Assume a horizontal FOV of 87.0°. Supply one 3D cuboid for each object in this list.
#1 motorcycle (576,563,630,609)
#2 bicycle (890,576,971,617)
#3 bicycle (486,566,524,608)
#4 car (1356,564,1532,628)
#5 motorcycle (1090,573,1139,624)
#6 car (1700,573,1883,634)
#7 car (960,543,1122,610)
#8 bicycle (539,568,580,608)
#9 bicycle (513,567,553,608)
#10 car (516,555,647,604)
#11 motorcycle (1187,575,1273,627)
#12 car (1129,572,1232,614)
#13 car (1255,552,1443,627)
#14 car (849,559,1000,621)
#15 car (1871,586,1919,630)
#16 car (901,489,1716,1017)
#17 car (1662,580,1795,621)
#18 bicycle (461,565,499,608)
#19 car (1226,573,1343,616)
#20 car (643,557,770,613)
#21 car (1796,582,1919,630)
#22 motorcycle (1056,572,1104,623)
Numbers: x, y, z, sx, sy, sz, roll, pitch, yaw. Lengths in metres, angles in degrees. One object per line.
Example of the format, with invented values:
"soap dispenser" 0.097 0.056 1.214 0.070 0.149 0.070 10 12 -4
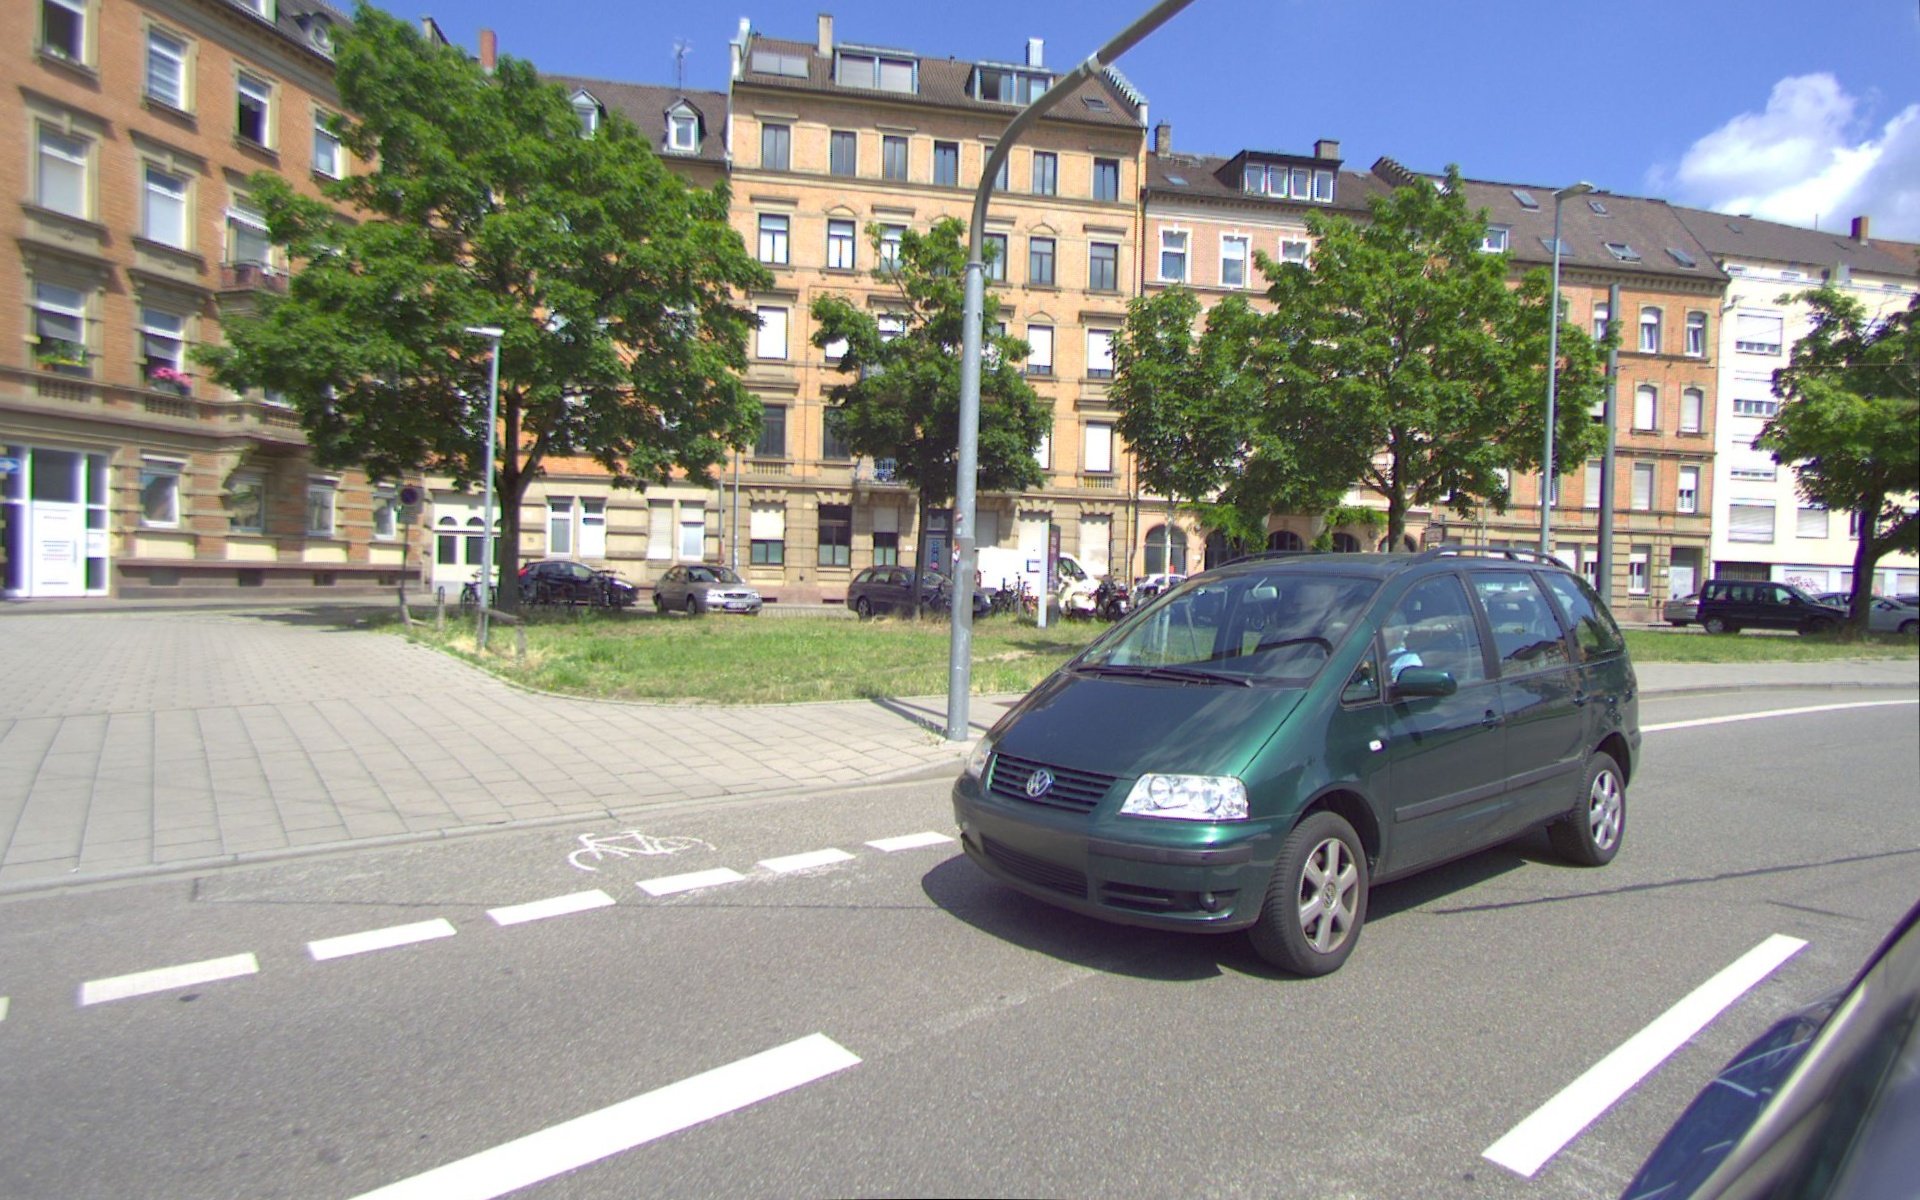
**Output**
"motorcycle" -9.156 -0.355 25.897 0.797 1.139 2.393 1 0 -32
"bicycle" -0.681 -0.071 23.306 1.783 0.913 0.545 1 0 -12
"bicycle" -11.167 -0.318 24.806 0.533 0.981 2.393 1 0 -32
"car" 13.798 -0.122 29.048 1.880 1.677 4.175 1 0 -35
"motorcycle" 3.753 -0.056 24.727 0.626 1.181 1.792 1 1 -10
"car" 25.858 0.070 31.587 1.819 1.763 4.146 1 0 -39
"car" 2.794 -0.806 35.646 5.283 2.206 2.121 1 0 -8
"bicycle" -10.099 -0.300 25.470 0.533 0.968 2.393 1 0 -32
"bicycle" -10.621 -0.312 25.146 0.533 0.981 2.393 1 0 -32
"car" -12.362 -0.659 33.246 3.774 1.510 1.667 1 0 -8
"motorcycle" 6.493 0.011 24.410 1.872 1.181 0.639 1 1 4
"car" 7.986 -0.266 36.738 3.283 1.420 1.571 1 1 -6
"car" 10.867 -0.300 28.554 1.882 1.952 4.625 1 0 -39
"car" -1.017 -0.299 26.332 1.772 1.445 4.257 1 2 -38
"car" 32.051 0.268 32.002 1.821 1.398 4.684 1 0 -42
"car" 2.236 0.510 5.629 4.937 1.778 1.824 0 0 -37
"car" 30.576 0.022 40.328 4.140 1.510 1.841 1 0 -8
"bicycle" -11.636 -0.324 24.496 0.533 0.981 2.393 1 0 -32
"car" 11.964 -0.210 37.410 3.774 1.510 1.667 1 0 -8
"car" -6.380 -0.361 25.130 1.827 1.260 4.167 1 0 -33
"car" 28.931 0.179 31.682 1.821 1.423 4.076 1 0 -43
"motorcycle" 2.894 -0.072 24.588 0.626 1.181 1.792 1 1 -10
